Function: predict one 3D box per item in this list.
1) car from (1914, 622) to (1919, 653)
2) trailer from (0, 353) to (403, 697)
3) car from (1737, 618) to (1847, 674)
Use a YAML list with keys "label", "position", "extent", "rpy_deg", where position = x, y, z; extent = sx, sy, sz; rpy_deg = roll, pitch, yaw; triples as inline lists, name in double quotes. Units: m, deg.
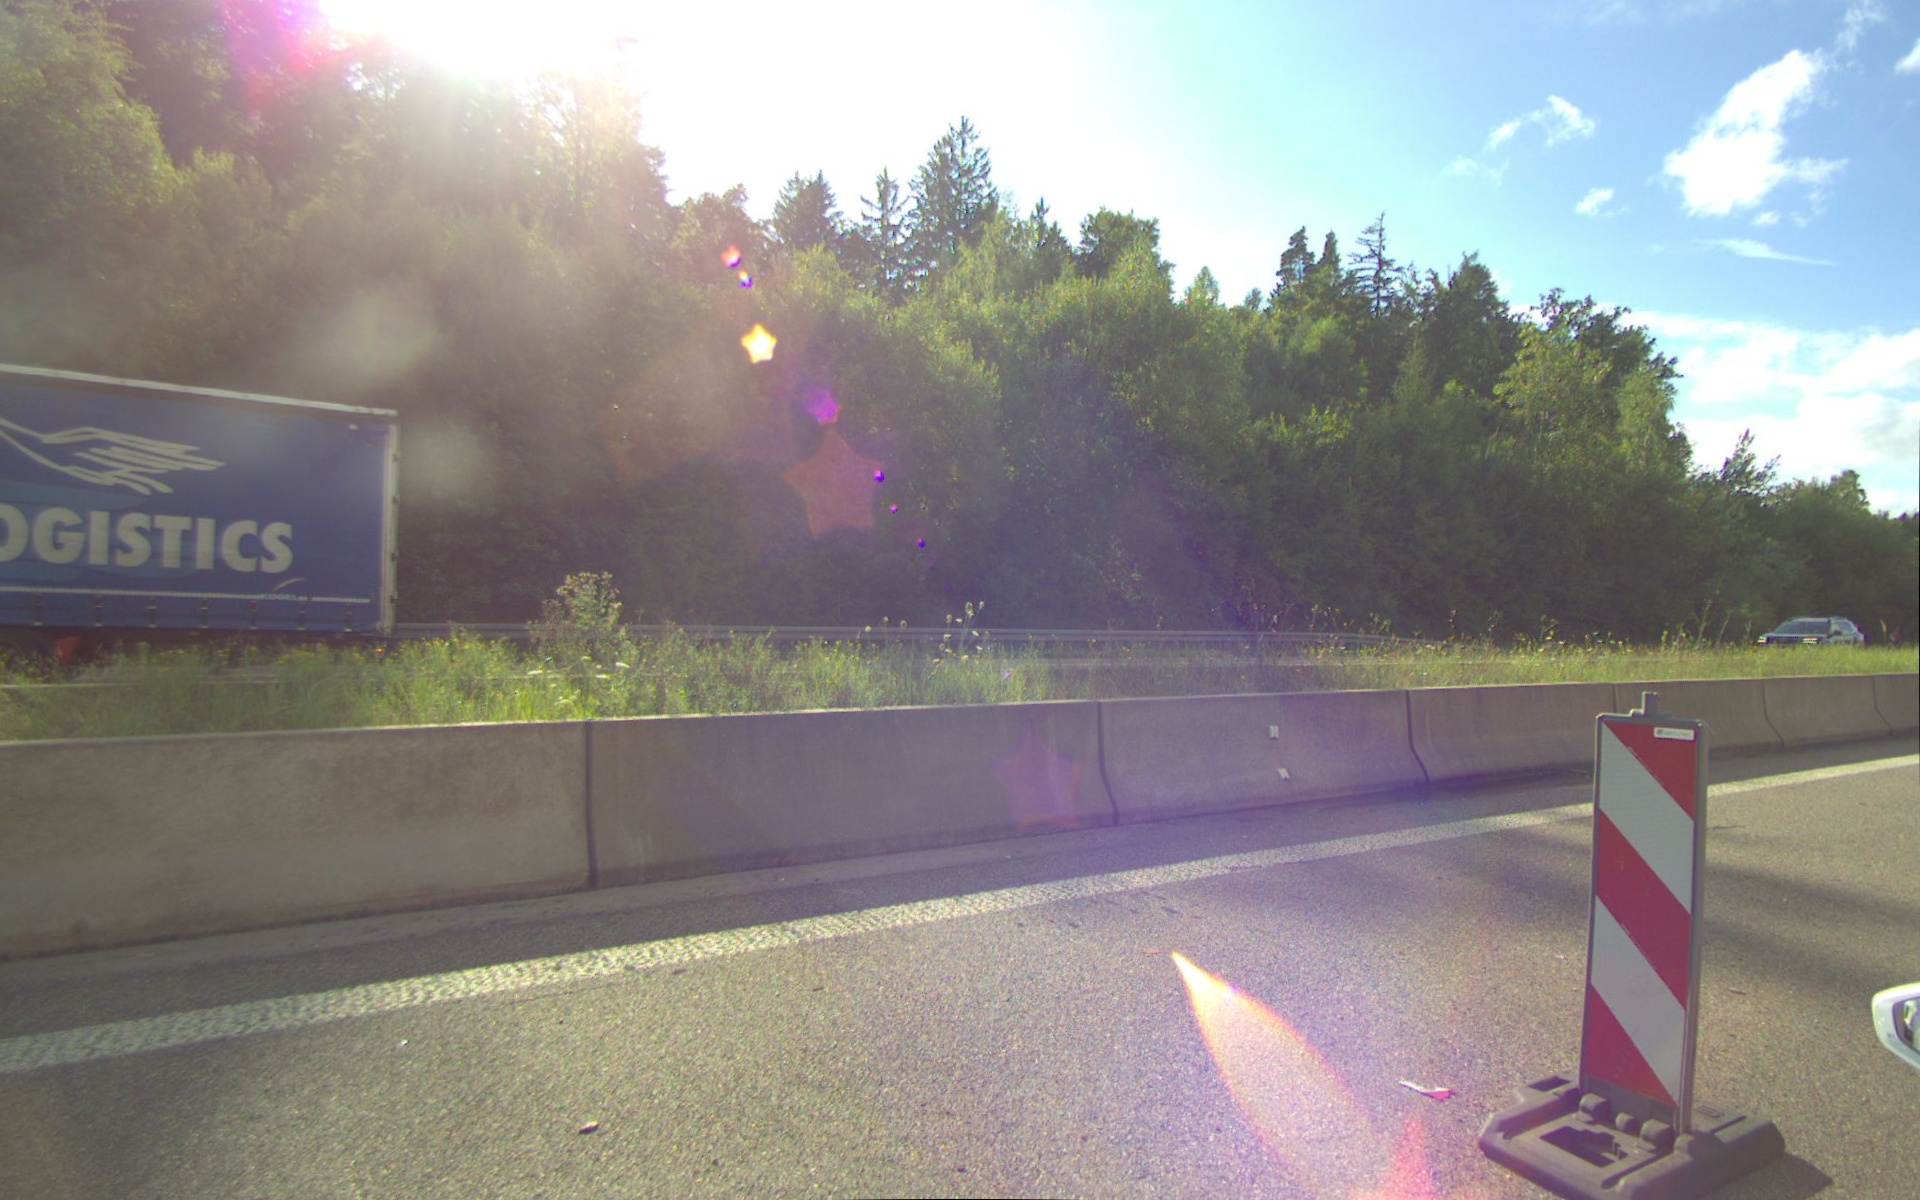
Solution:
- label: "car"
  position: [64.260, 2.494, 65.461]
  extent: [3.953, 2.040, 1.984]
  rpy_deg: [2, 0, -30]
- label: "trailer"
  position: [-14.385, -0.999, 12.197]
  extent: [13.216, 4.196, 2.607]
  rpy_deg: [2, 0, -31]
- label: "car"
  position: [27.837, 1.527, 33.598]
  extent: [3.481, 1.728, 1.707]
  rpy_deg: [2, 0, -30]
